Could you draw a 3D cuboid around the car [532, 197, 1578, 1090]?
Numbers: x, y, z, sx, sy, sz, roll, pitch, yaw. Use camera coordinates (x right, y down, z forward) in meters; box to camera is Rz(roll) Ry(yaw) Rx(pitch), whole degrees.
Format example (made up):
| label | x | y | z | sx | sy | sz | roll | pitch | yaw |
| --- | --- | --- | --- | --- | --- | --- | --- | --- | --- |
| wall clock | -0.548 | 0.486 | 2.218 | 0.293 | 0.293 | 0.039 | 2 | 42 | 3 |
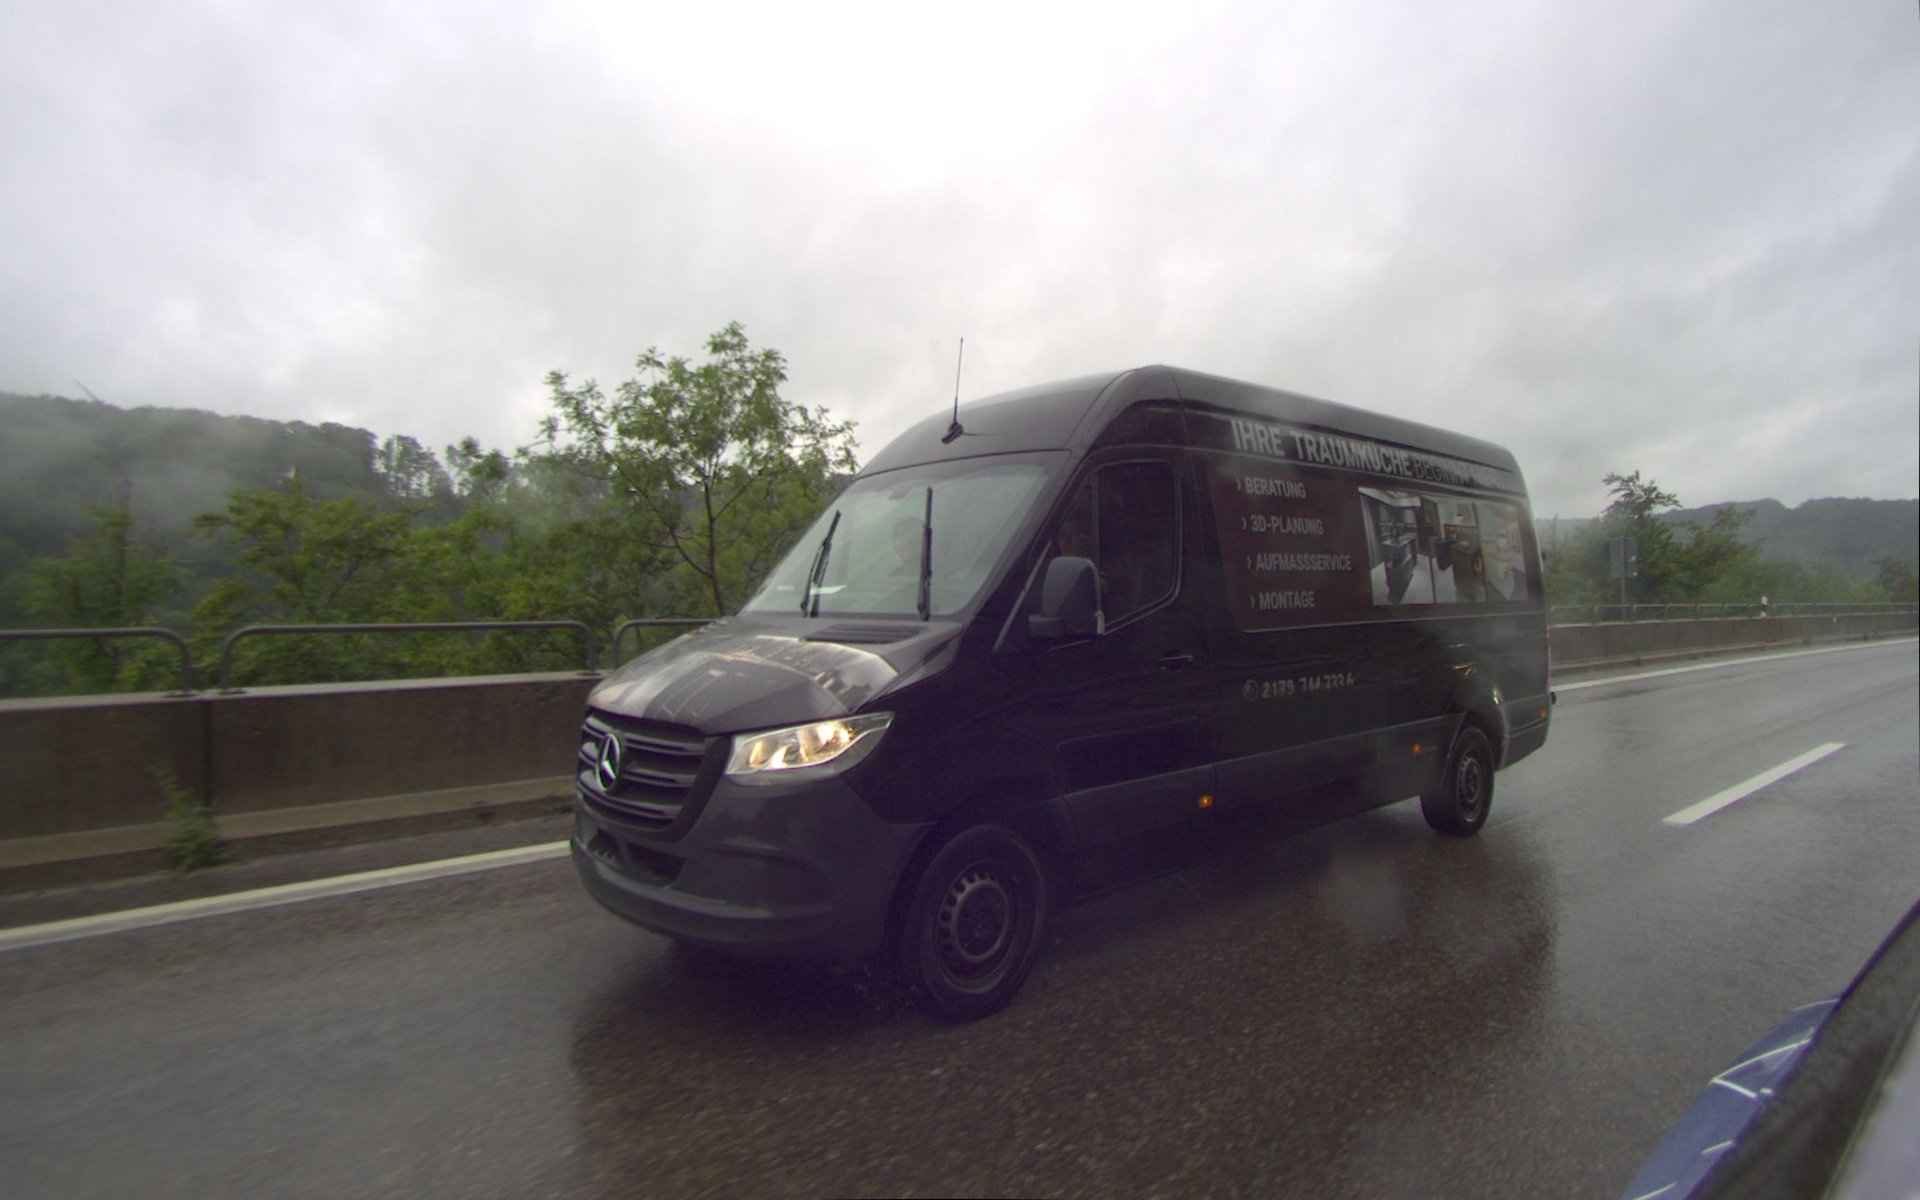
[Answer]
| label | x | y | z | sx | sy | sz | roll | pitch | yaw |
| --- | --- | --- | --- | --- | --- | --- | --- | --- | --- |
| car | 1.278 | 0.107 | 5.802 | 6.588 | 2.525 | 1.997 | 0 | 1 | -41 |
